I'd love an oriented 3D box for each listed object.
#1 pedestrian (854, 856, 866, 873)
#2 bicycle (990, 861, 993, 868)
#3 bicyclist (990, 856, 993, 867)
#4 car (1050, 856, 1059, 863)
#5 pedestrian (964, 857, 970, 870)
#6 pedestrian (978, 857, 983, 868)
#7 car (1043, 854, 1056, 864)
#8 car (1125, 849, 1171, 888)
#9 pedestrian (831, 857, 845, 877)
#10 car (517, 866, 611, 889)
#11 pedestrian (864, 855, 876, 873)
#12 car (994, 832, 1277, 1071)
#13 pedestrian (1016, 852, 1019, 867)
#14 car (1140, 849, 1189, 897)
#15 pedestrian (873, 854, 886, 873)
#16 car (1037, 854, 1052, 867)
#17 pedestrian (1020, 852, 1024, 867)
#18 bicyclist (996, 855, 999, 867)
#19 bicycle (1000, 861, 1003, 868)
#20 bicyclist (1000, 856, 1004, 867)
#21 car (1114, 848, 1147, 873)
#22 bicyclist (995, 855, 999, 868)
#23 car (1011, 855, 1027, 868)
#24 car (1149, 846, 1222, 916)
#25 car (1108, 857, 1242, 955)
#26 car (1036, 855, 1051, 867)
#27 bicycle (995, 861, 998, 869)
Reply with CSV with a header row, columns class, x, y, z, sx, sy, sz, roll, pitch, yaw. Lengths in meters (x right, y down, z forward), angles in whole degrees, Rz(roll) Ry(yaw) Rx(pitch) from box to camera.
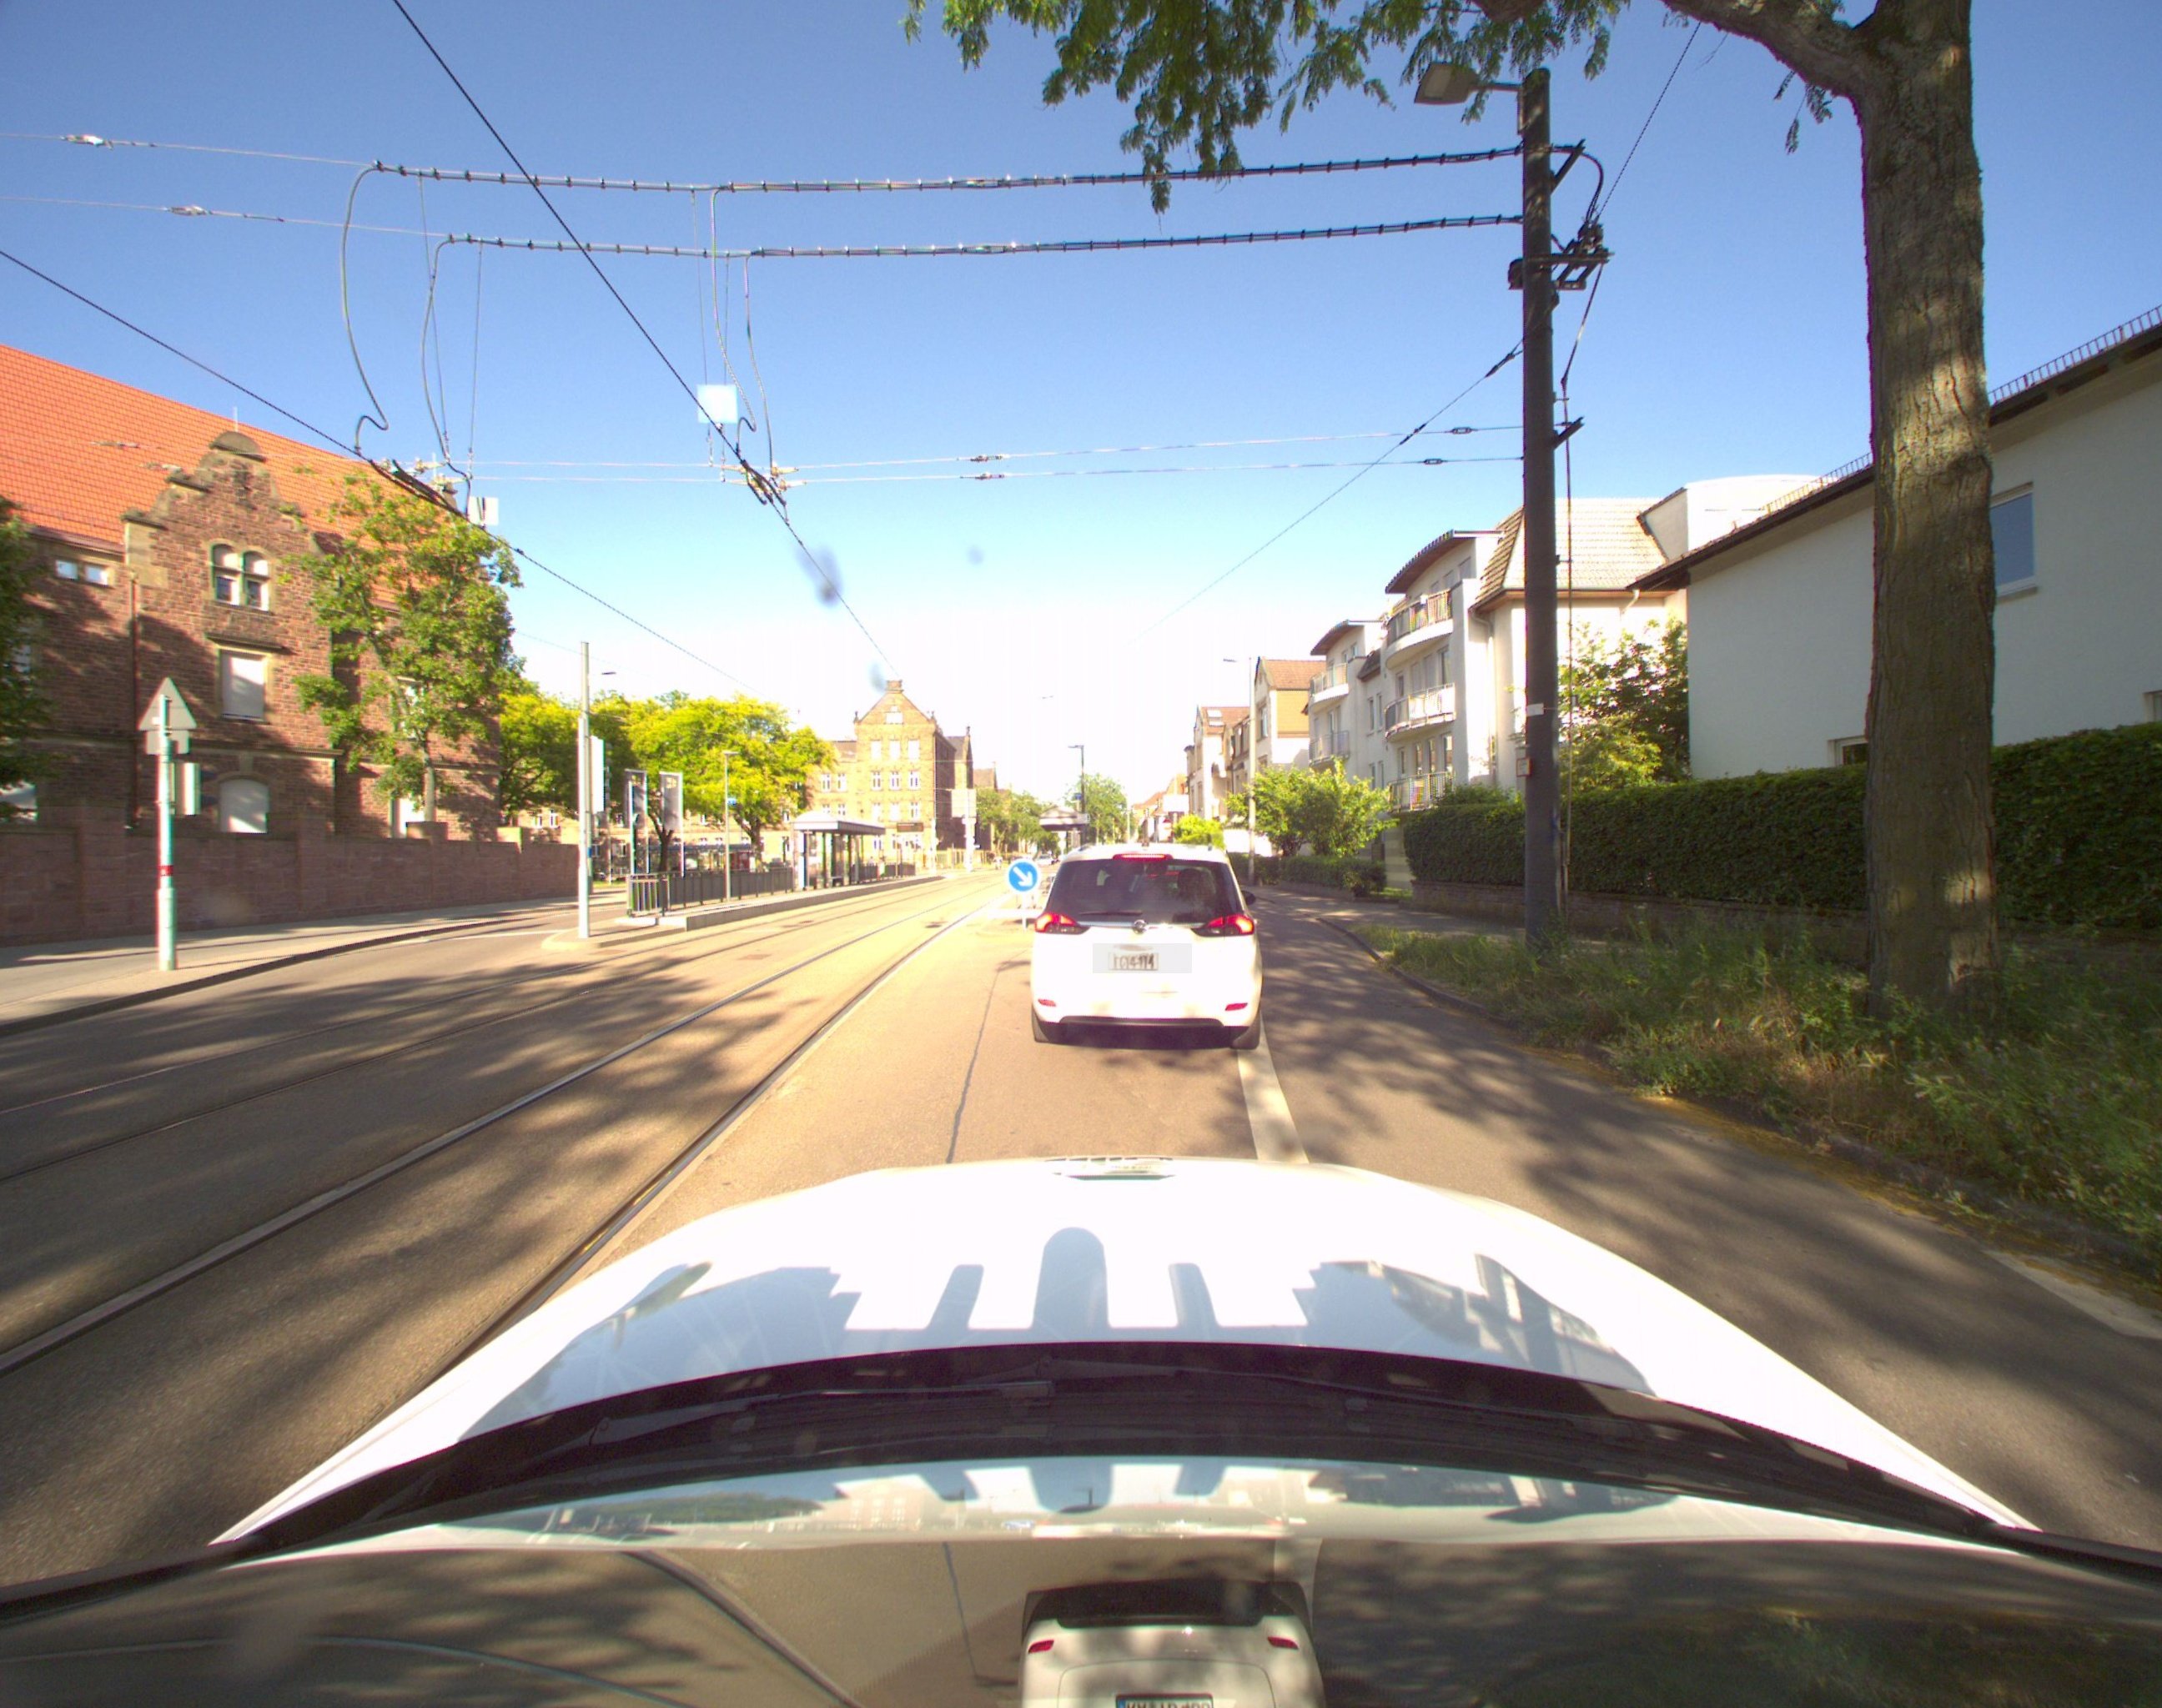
class,x,y,z,sx,sy,sz,roll,pitch,yaw
pedestrian,-21.064,0.970,77.629,0.799,1.588,0.934,0,-1,-1
bicycle,-12.676,1.525,115.639,0.343,0.950,0.996,0,-1,-1
bicyclist,-12.682,1.057,115.605,0.443,1.553,0.495,-1,0,-2
car,-5.911,1.213,180.689,1.989,1.629,3.984,-1,0,-3
pedestrian,-15.045,1.287,107.793,0.733,1.714,0.705,0,-1,-5
pedestrian,-15.289,1.283,124.377,0.733,1.714,0.753,0,-1,-4
car,-5.360,0.918,137.996,1.987,1.629,4.000,-1,0,0
car,2.938,0.606,36.254,1.824,1.579,4.012,-1,0,2
pedestrian,-20.591,1.110,69.063,0.839,1.691,1.029,0,-1,1
car,-48.553,2.167,76.638,6.927,1.921,2.992,-1,0,0
pedestrian,-19.409,0.934,74.968,0.799,1.588,0.934,0,-1,-1
car,0.654,0.681,7.707,1.982,1.644,4.003,0,0,8
pedestrian,-8.766,0.772,112.386,0.443,2.013,0.495,-1,0,-2
car,2.953,0.631,29.324,1.630,1.601,3.859,-1,0,4
pedestrian,-18.180,0.867,73.393,0.892,1.684,1.029,0,-1,1
car,-4.813,0.888,107.625,1.989,1.629,3.996,-1,0,-3
pedestrian,-8.162,0.769,112.649,0.443,2.013,0.495,-1,0,-2
bicyclist,-10.976,0.976,107.027,0.443,1.553,0.495,-1,0,-2
bicycle,-10.659,1.461,109.611,0.343,0.950,0.996,0,-1,-1
bicyclist,-10.660,0.994,109.606,0.443,1.553,0.495,-1,0,-2
car,3.108,0.380,51.847,1.986,1.503,4.002,-1,0,2
bicyclist,-10.704,0.946,103.736,0.443,1.553,0.742,-1,0,-2
car,-8.189,0.921,107.483,1.989,1.629,3.996,-1,0,-3
car,2.583,0.634,20.898,1.630,1.601,3.859,-1,0,4
car,1.542,0.787,14.069,1.944,1.397,4.005,-1,0,4
car,-5.294,0.949,114.747,1.989,1.629,3.996,-1,0,-3
bicycle,-10.712,1.412,103.526,0.343,0.950,1.160,0,-1,-1
